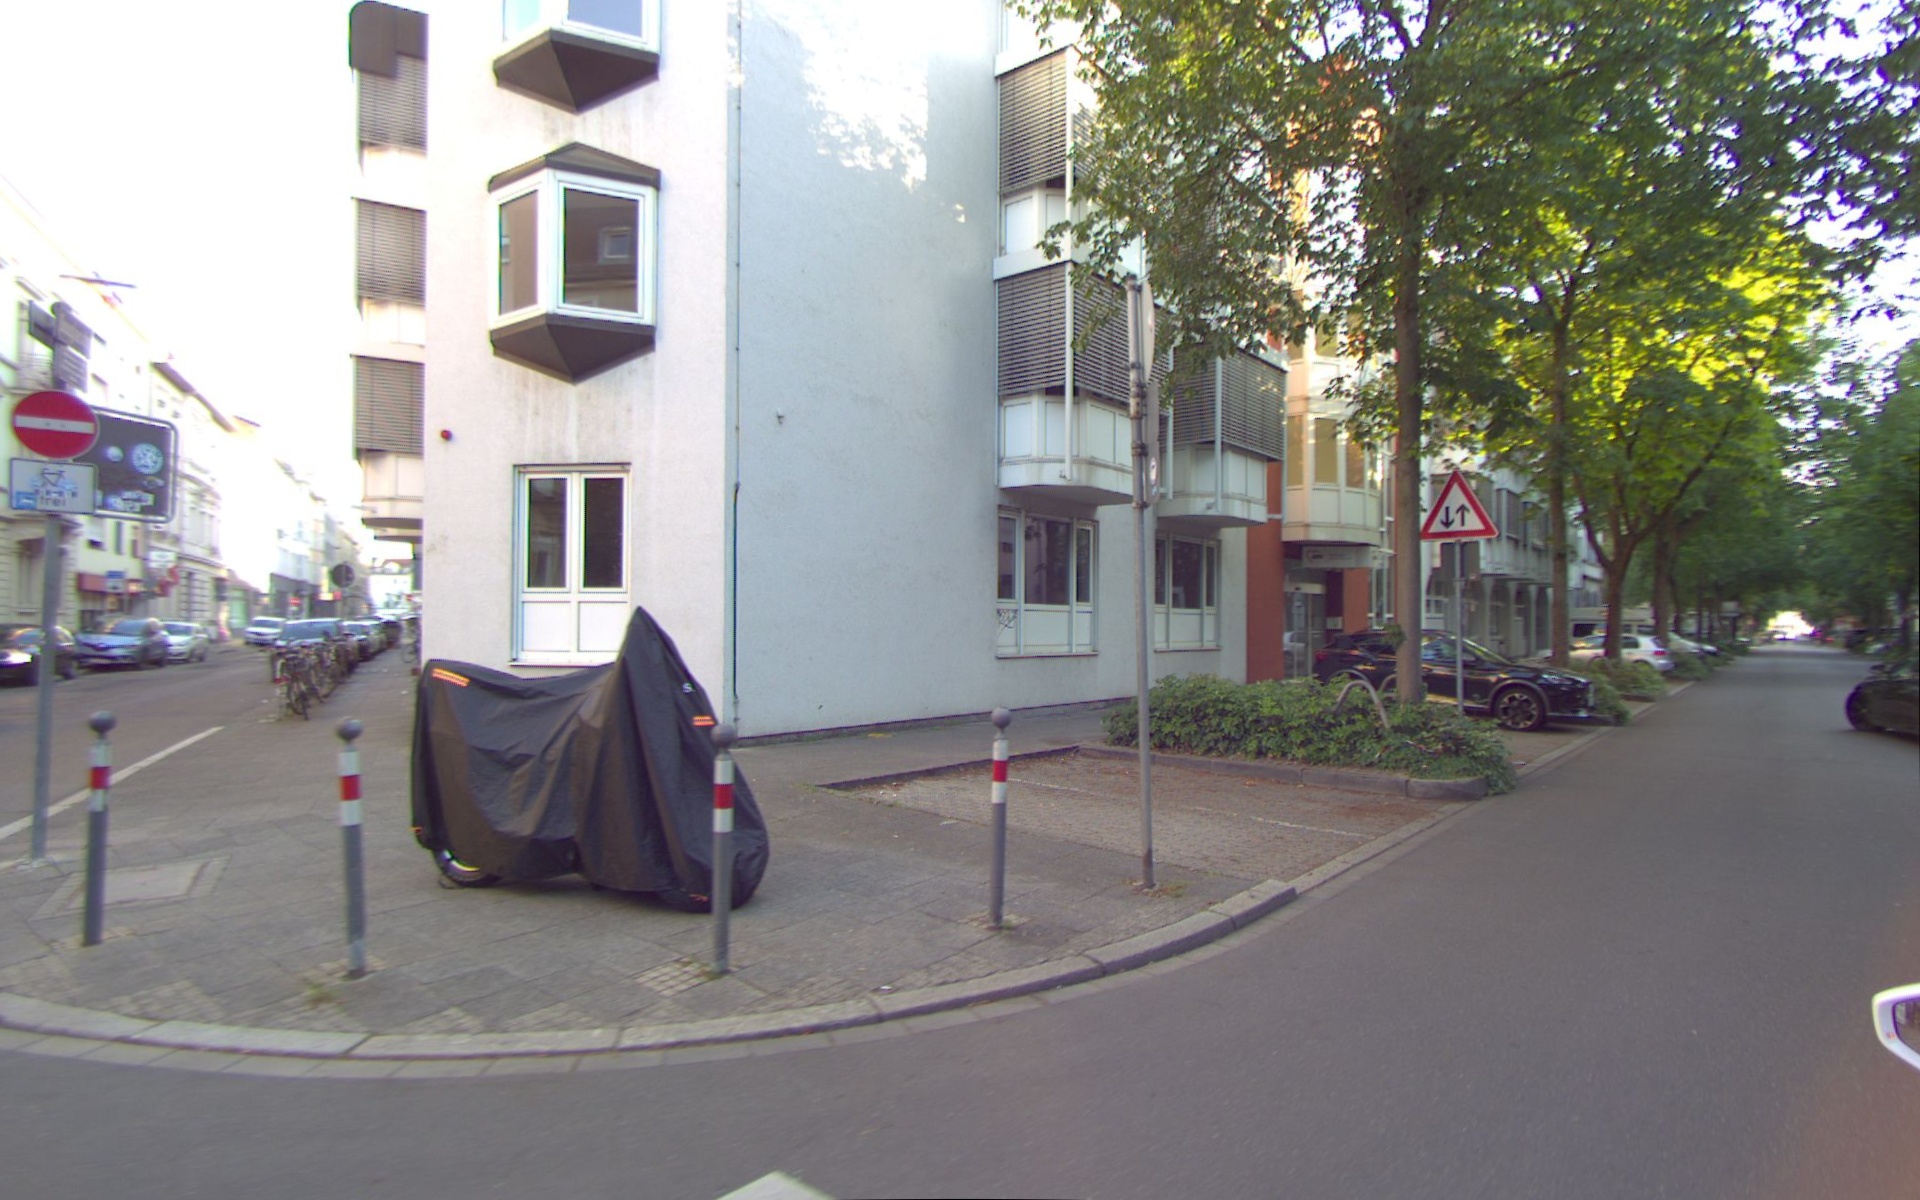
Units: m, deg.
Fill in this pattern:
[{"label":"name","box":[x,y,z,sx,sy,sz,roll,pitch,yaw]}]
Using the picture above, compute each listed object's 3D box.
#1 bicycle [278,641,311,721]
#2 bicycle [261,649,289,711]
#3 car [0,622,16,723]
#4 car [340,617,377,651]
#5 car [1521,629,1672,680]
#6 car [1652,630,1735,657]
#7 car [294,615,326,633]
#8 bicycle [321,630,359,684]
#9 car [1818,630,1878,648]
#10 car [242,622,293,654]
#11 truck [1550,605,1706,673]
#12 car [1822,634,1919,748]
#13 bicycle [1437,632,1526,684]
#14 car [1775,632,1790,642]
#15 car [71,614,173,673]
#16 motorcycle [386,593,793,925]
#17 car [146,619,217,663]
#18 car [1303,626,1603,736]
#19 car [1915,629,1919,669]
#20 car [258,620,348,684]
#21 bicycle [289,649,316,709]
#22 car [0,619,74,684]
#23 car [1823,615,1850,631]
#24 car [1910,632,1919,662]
[{"label":"bicycle","box":[-10.130,1.203,15.292,0.397,1.117,1.796,0,-1,-34]},{"label":"bicycle","box":[-11.652,1.335,17.101,0.304,0.944,1.797,0,-1,-32]},{"label":"car","box":[-13.515,1.005,12.312,1.661,1.422,4.440,-1,-1,-28]},{"label":"car","box":[-31.712,1.777,53.013,1.624,1.734,3.753,0,-1,-30]},{"label":"car","box":[21.168,1.776,33.481,4.083,1.491,1.633,1,-1,40]},{"label":"car","box":[44.334,2.596,60.774,3.973,1.491,1.633,1,-1,40]},{"label":"car","box":[-51.593,1.907,79.762,1.708,1.417,3.866,0,-1,-27]},{"label":"bicycle","box":[-14.789,1.333,23.999,0.590,1.203,2.250,0,-1,-27]},{"label":"car","box":[72.978,3.208,82.627,3.611,1.411,1.559,-1,-1,38]},{"label":"car","box":[-41.731,2.262,60.635,1.820,1.717,4.329,6,-4,-27]},{"label":"truck","box":[26.487,1.486,39.948,4.942,2.474,1.906,1,0,41]},{"label":"car","box":[13.923,1.239,13.979,1.735,1.469,4.664,0,-1,25]},{"label":"bicycle","box":[12.917,1.414,24.906,1.941,1.215,0.501,0,-1,29]},{"label":"car","box":[136.231,6.100,166.280,1.872,1.494,3.981,0,-1,40]},{"label":"car","box":[-26.864,1.342,32.331,1.674,1.764,4.080,0,-1,-28]},{"label":"motorcycle","box":[-2.016,0.764,5.451,2.120,1.576,0.669,0,-1,20]},{"label":"car","box":[-29.787,1.530,38.538,1.555,1.599,3.564,0,-1,-28]},{"label":"car","box":[8.328,1.273,17.176,4.305,1.529,1.826,1,-1,40]},{"label":"car","box":[38.965,1.883,38.229,3.611,1.557,1.559,-1,-1,38]},{"label":"car","box":[-17.810,1.344,27.392,1.775,1.597,4.039,0,-1,-30]},{"label":"bicycle","box":[-11.298,1.327,17.268,0.304,0.944,1.798,1,-2,-31]},{"label":"car","box":[-23.258,1.204,24.398,1.674,1.477,4.102,0,-1,-28]},{"label":"car","box":[92.704,2.436,106.274,1.969,1.572,3.982,0,-1,39]},{"label":"car","box":[47.435,2.237,47.433,3.611,1.411,1.559,-1,-1,38]}]
